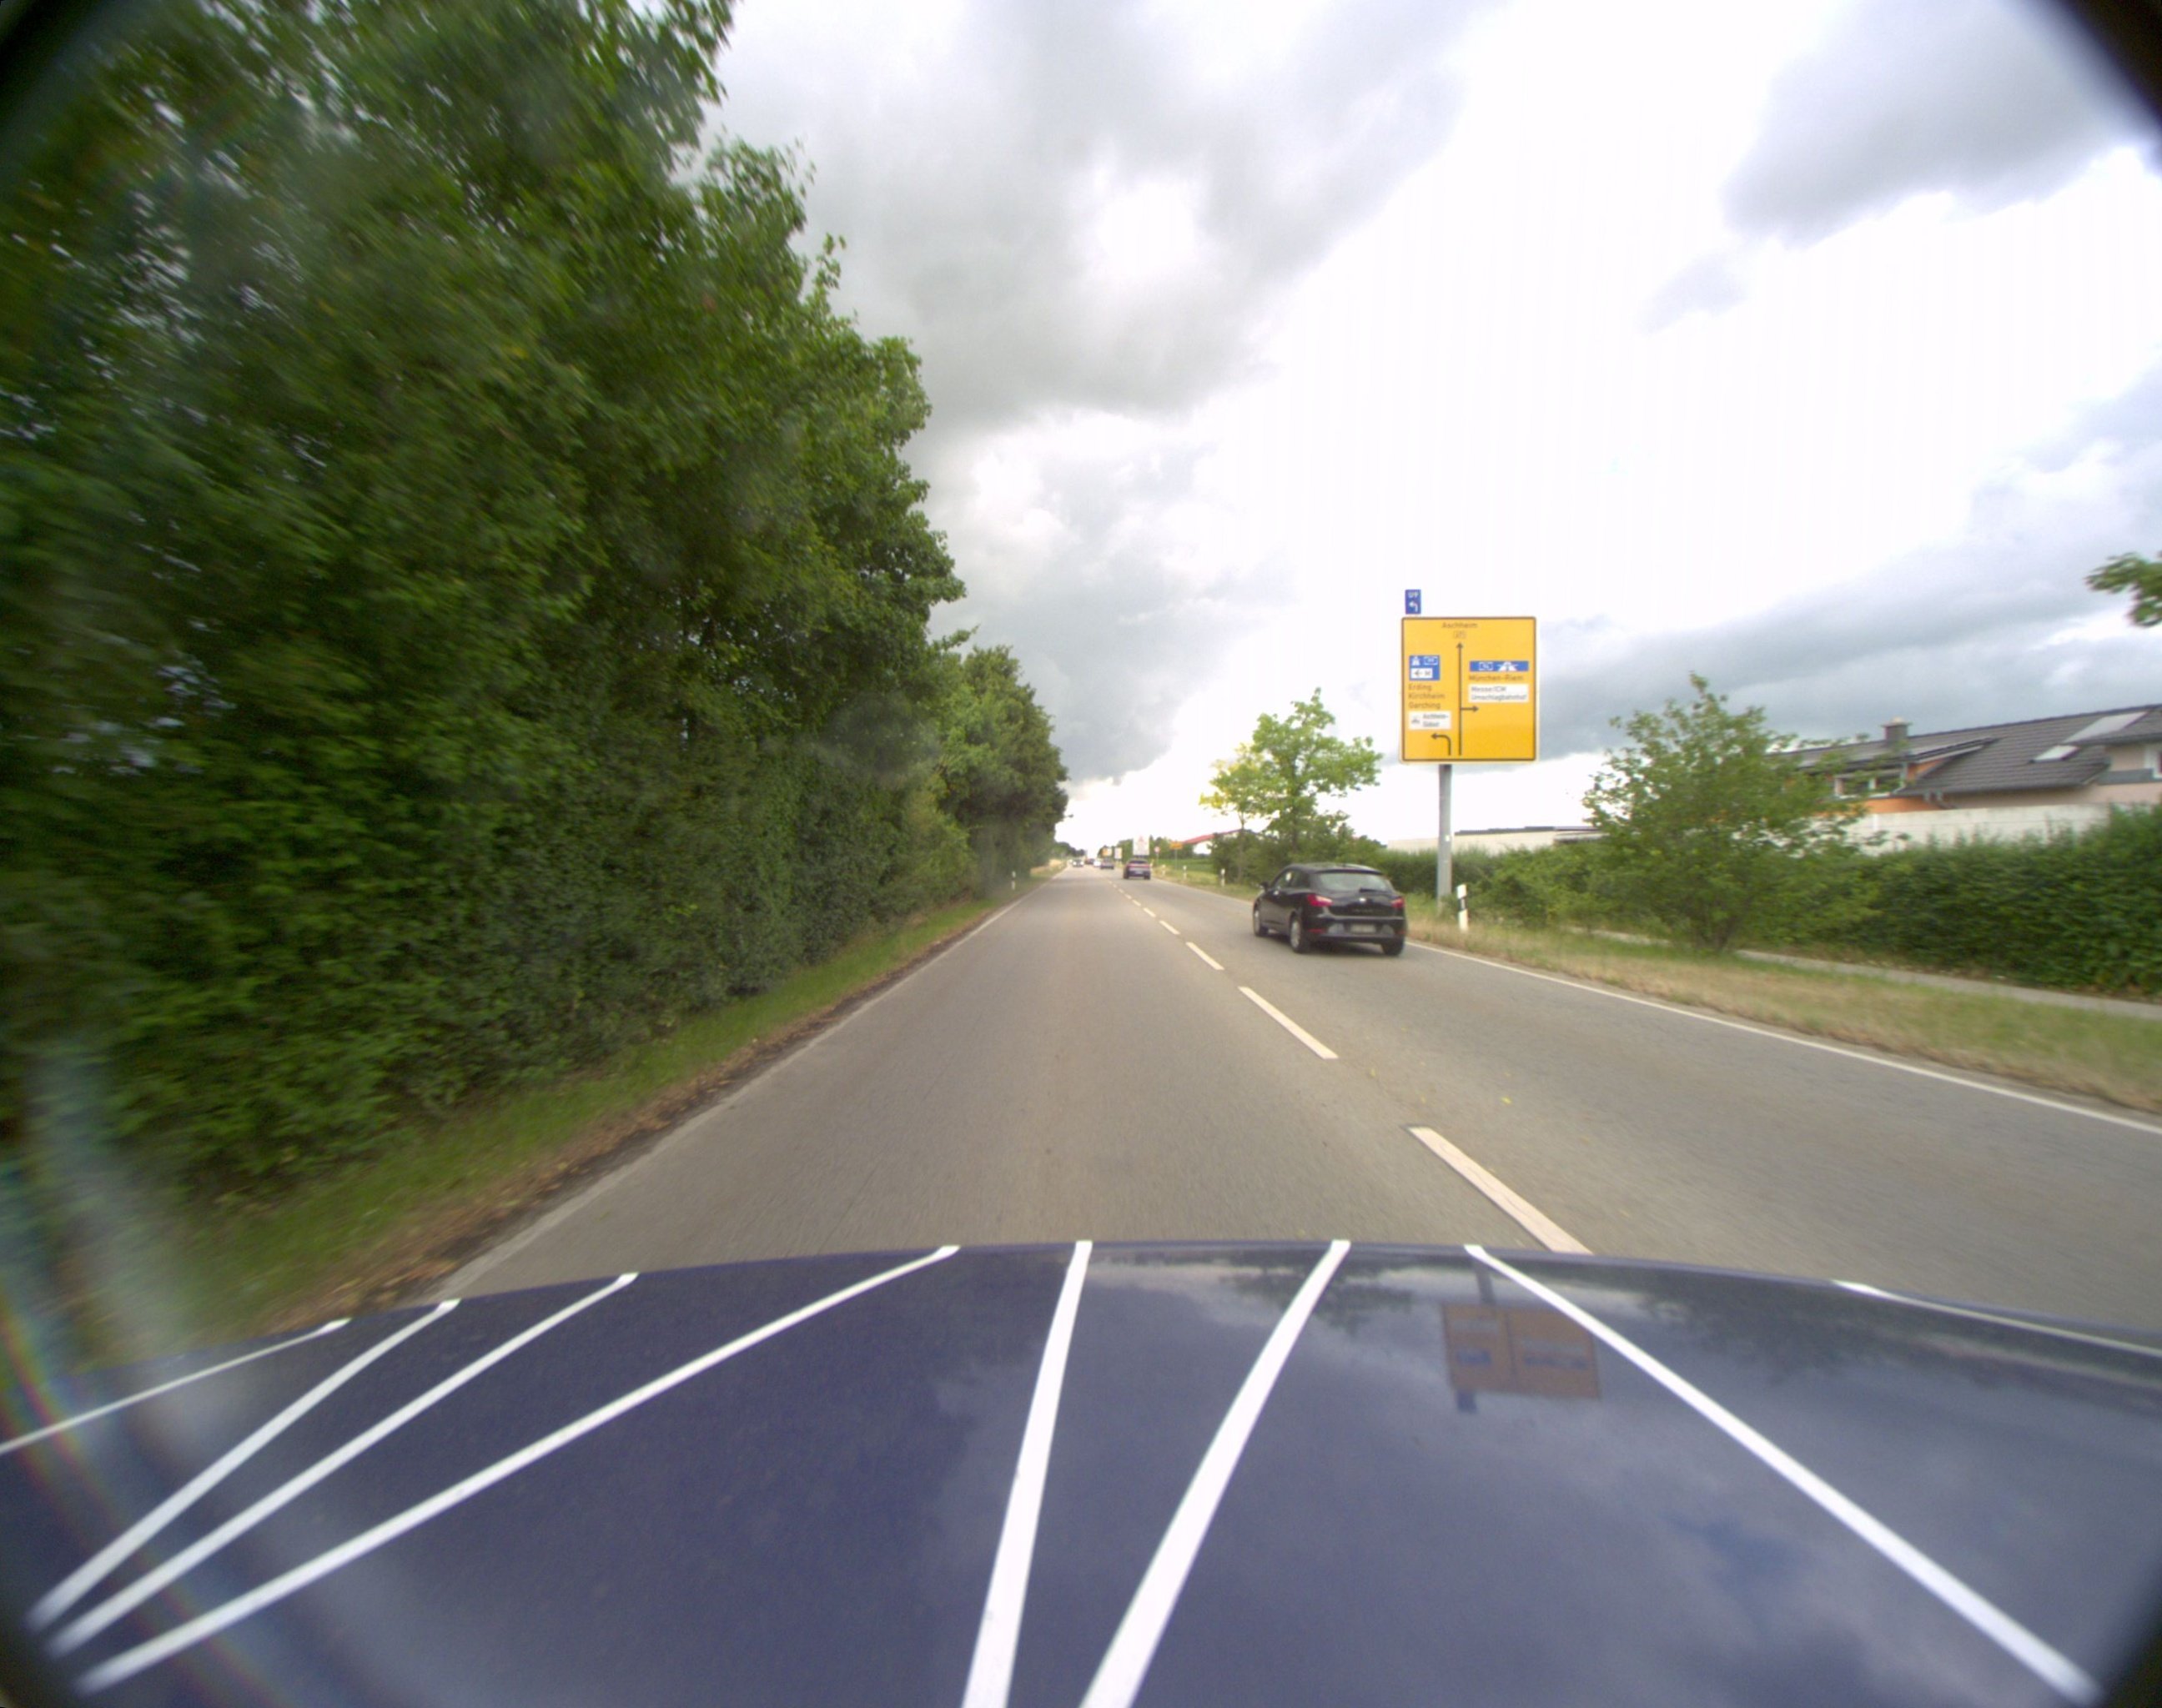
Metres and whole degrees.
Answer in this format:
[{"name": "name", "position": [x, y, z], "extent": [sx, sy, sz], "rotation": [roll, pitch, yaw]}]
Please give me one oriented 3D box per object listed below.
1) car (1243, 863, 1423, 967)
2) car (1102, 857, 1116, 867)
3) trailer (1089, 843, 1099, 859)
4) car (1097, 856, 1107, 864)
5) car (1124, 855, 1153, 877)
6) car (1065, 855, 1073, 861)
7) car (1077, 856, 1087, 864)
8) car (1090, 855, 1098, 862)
[{"name": "car", "position": [4.054, 0.901, 12.952], "extent": [1.681, 1.403, 4.012], "rotation": [1, 0, 0]}, {"name": "car", "position": [3.958, 1.107, 107.599], "extent": [1.857, 1.456, 4.370], "rotation": [0, 0, -1]}, {"name": "trailer", "position": [3.498, -0.874, 205.724], "extent": [2.641, 4.096, 13.765], "rotation": [0, 0, 0]}, {"name": "car", "position": [3.733, 1.017, 135.638], "extent": [1.777, 1.365, 4.100], "rotation": [1, 0, 0]}, {"name": "car", "position": [4.216, 0.857, 56.090], "extent": [1.820, 1.485, 4.203], "rotation": [1, 0, 0]}, {"name": "car", "position": [-2.896, 0.876, 186.614], "extent": [1.777, 1.407, 4.079], "rotation": [1, 0, 0]}, {"name": "car", "position": [0.169, 1.088, 134.281], "extent": [1.869, 1.352, 3.826], "rotation": [0, 0, 0]}, {"name": "car", "position": [3.165, 1.073, 183.460], "extent": [1.733, 1.577, 4.504], "rotation": [0, 0, 0]}]
